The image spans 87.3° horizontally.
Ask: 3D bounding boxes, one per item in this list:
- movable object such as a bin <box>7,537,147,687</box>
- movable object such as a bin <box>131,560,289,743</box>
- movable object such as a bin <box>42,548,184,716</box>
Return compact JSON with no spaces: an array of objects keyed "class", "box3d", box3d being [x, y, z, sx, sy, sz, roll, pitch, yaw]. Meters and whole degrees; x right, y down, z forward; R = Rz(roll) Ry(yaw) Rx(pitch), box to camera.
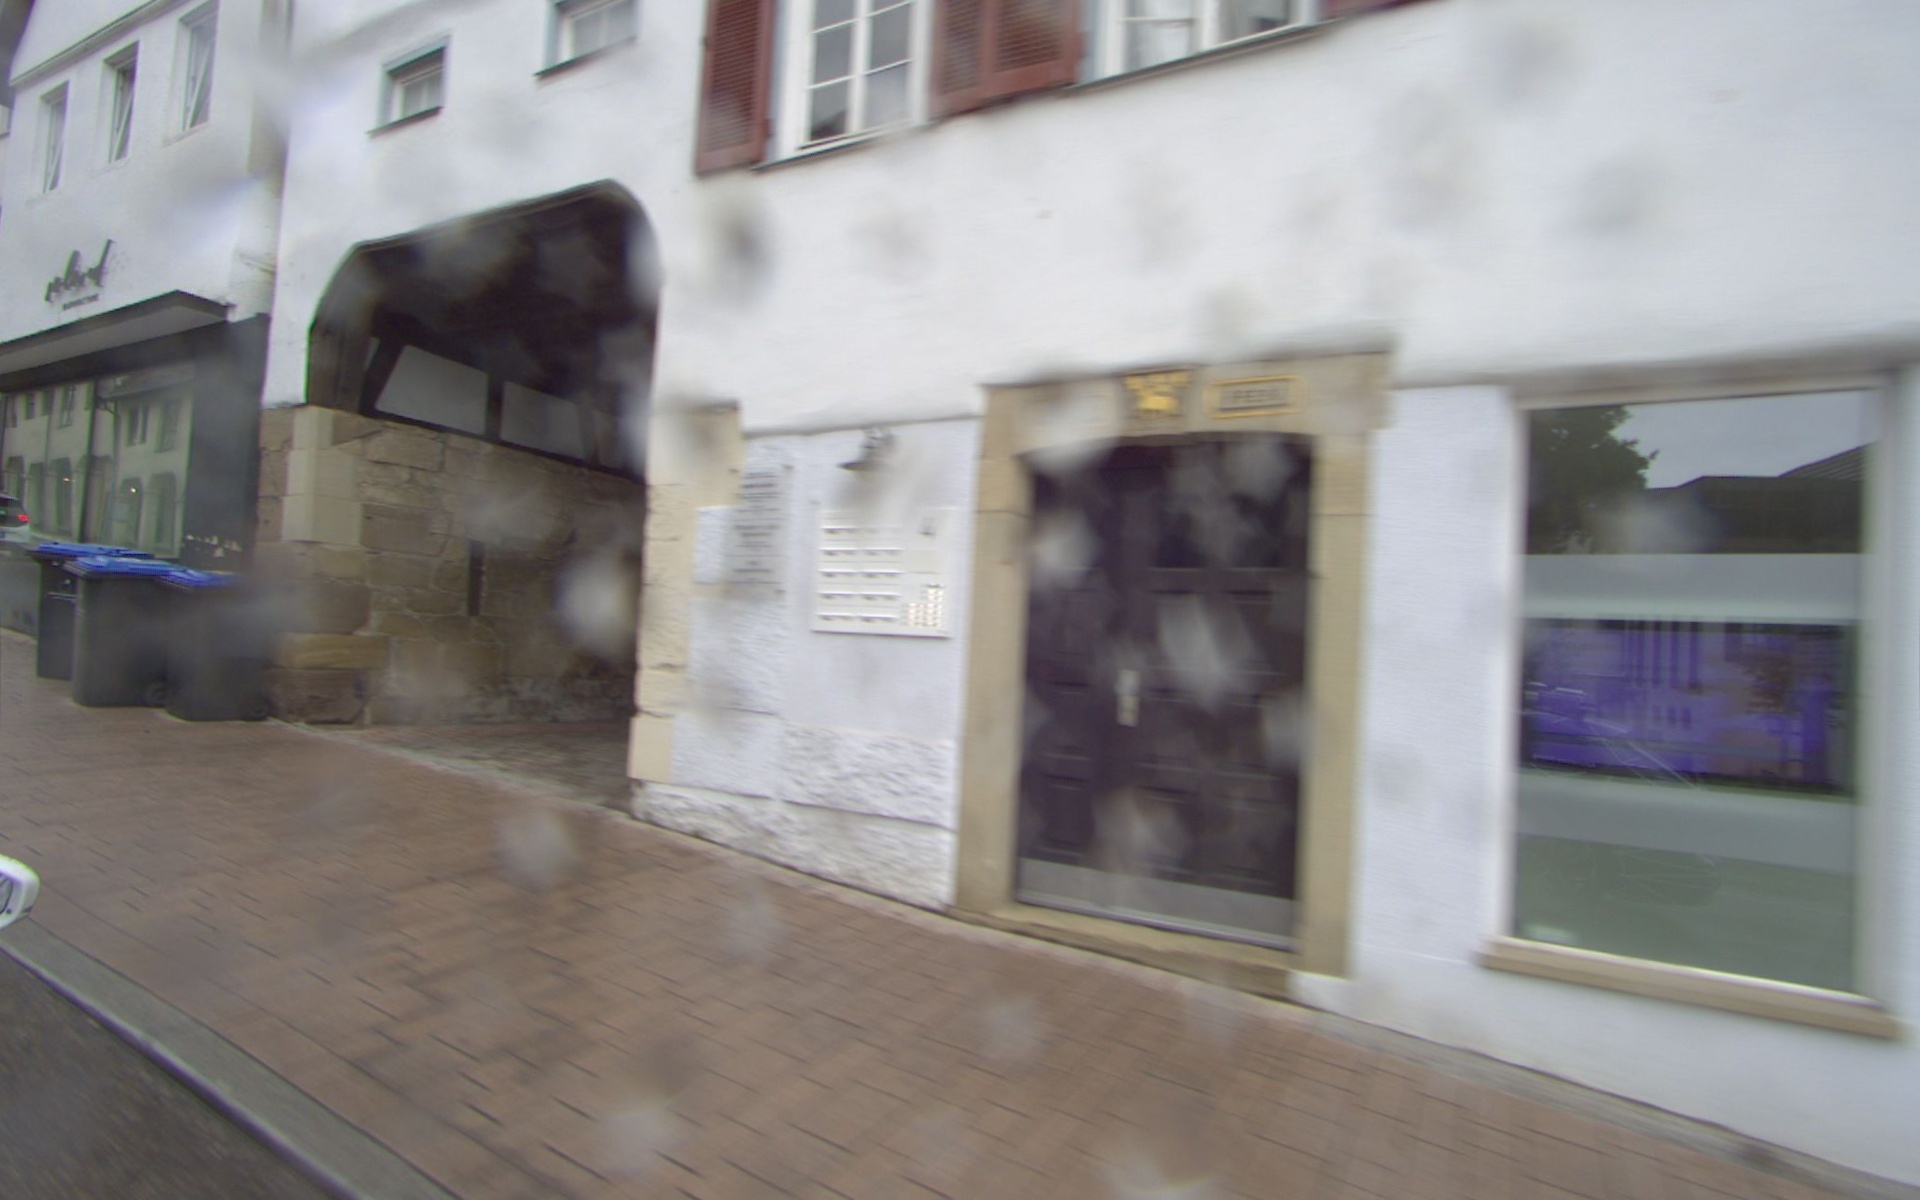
[{"class":"movable object such as a bin","box3d":[-6.992,0.088,7.973,0.604,1.077,0.659,9,5,32]},{"class":"movable object such as a bin","box3d":[-5.532,0.378,7.433,0.595,1.220,0.625,9,1,30]},{"class":"movable object such as a bin","box3d":[-6.257,0.232,7.437,0.665,1.123,0.567,8,3,32]}]
